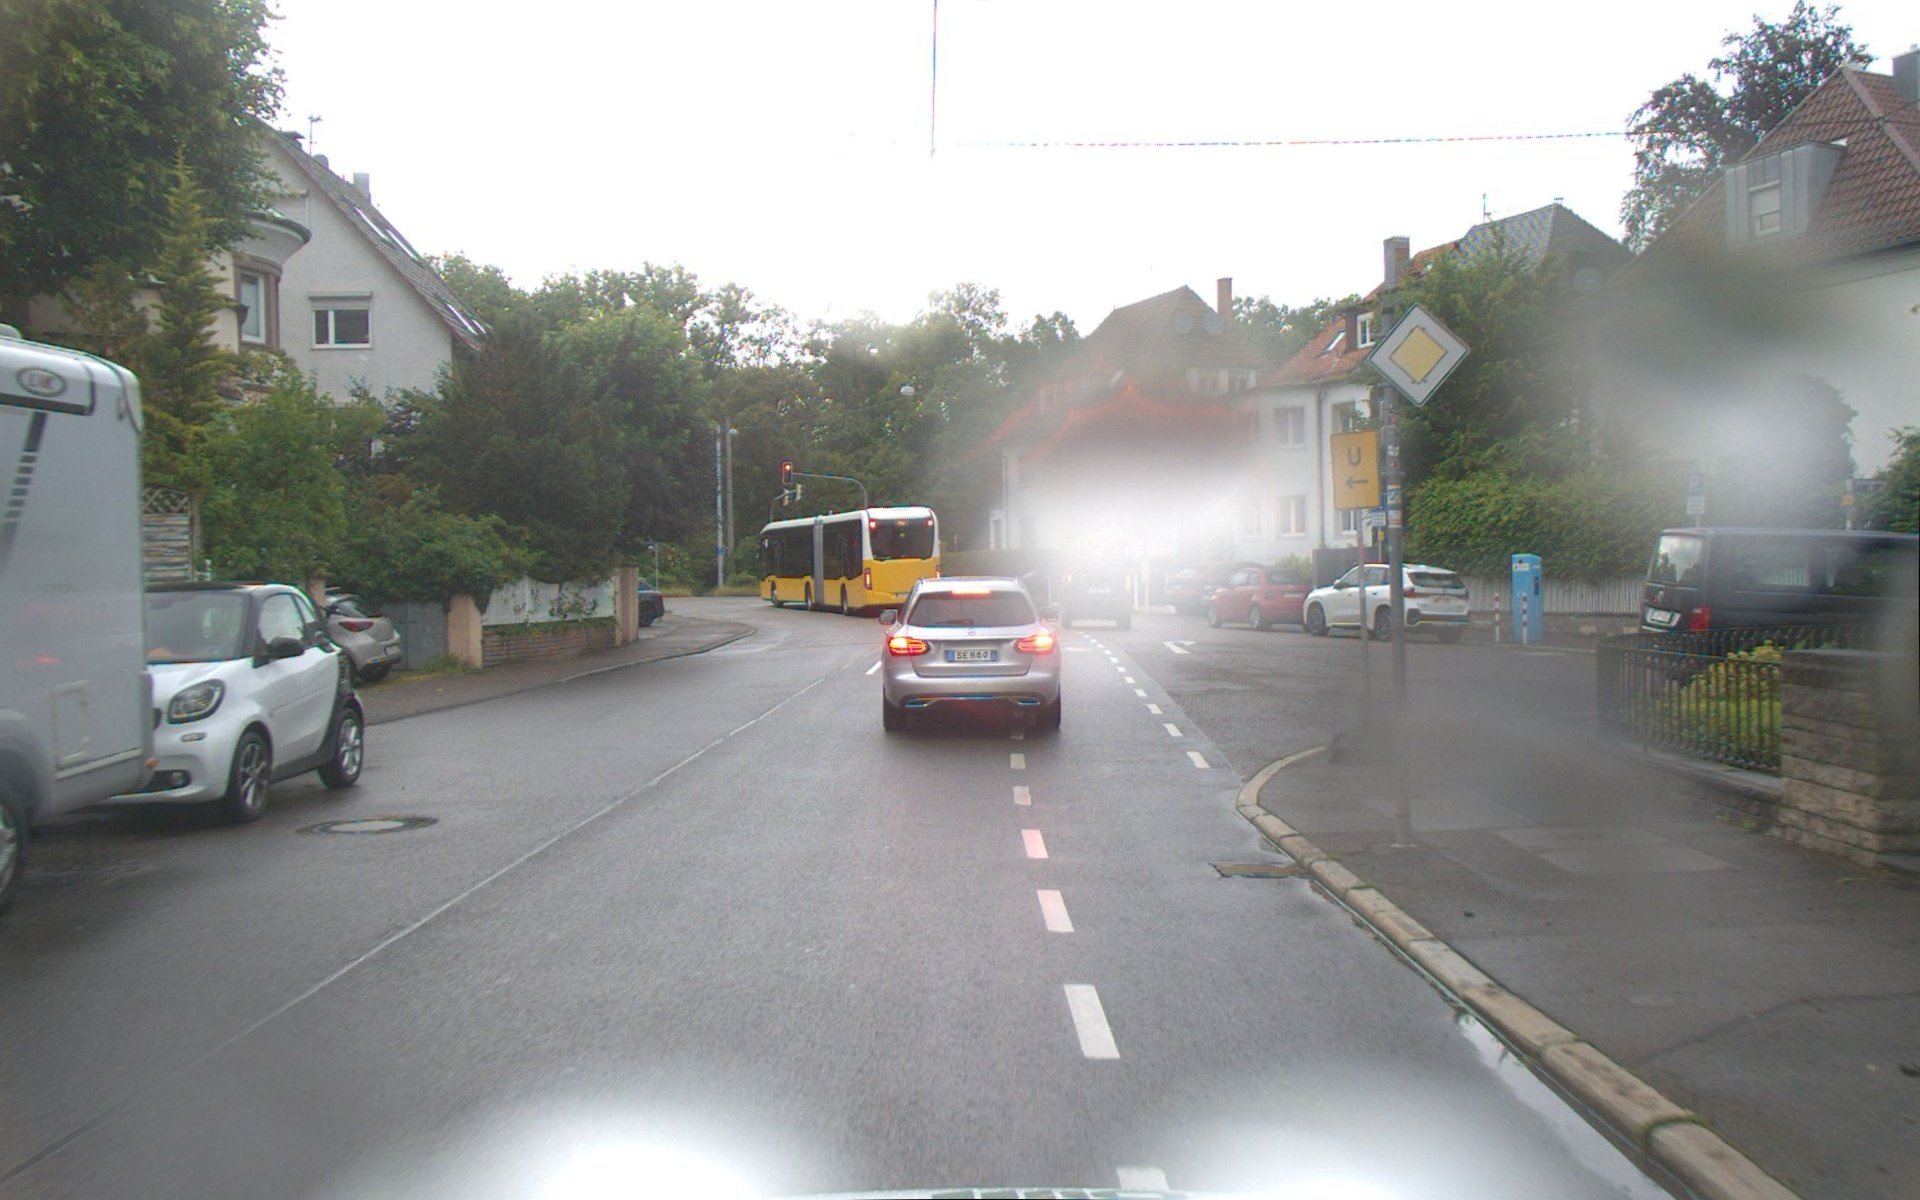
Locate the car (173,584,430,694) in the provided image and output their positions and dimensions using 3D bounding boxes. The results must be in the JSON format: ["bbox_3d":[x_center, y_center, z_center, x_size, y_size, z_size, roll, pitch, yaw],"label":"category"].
[{"bbox_3d":[-10.673,0.627,26.876,3.505,1.567,1.711,-2,3,17],"label":"car"}]

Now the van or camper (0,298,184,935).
[{"bbox_3d":[-5.282,0.090,5.906,2.301,2.772,6.114,-1,0,-2],"label":"van or camper"}]

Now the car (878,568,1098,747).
[{"bbox_3d":[0.217,0.475,17.084,1.953,1.505,4.486,-1,2,-1],"label":"car"}]

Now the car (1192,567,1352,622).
[{"bbox_3d":[9.469,-0.199,50.169,4.492,1.441,1.984,-3,2,-26],"label":"car"}]

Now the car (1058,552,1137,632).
[{"bbox_3d":[3.344,-0.193,40.049,1.770,1.829,4.003,-1,0,5],"label":"car"}]

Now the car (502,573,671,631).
[{"bbox_3d":[-10.488,0.043,46.747,1.768,1.521,4.666,2,1,36],"label":"car"}]

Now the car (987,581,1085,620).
[{"bbox_3d":[3.094,0.012,67.201,3.690,1.412,1.607,-1,3,-21],"label":"car"}]

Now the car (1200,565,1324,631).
[{"bbox_3d":[7.490,-0.076,41.302,1.586,1.564,3.523,1,1,-17],"label":"car"}]

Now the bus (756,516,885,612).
[{"bbox_3d":[-5.570,-1.400,64.212,2.856,3.457,8.991,-1,1,-19],"label":"bus"}]

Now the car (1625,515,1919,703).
[{"bbox_3d":[10.342,0.075,18.774,4.804,1.982,1.942,-1,0,4],"label":"car"}]

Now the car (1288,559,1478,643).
[{"bbox_3d":[9.140,-0.021,36.158,1.719,1.701,4.620,1,1,-20],"label":"car"}]

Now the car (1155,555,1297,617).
[{"bbox_3d":[8.406,-0.467,52.200,4.024,1.780,1.984,-3,2,-26],"label":"car"}]

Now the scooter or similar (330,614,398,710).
[{"bbox_3d":[-7.883,0.806,21.906,0.393,1.209,1.141,0,1,5],"label":"scooter or similar"}]

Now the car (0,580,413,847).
[{"bbox_3d":[-5.250,0.691,11.872,1.562,1.622,3.317,-1,0,-1],"label":"car"}]

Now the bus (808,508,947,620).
[{"bbox_3d":[-2.935,-1.222,55.747,2.634,3.457,8.640,-1,1,-17],"label":"bus"}]
